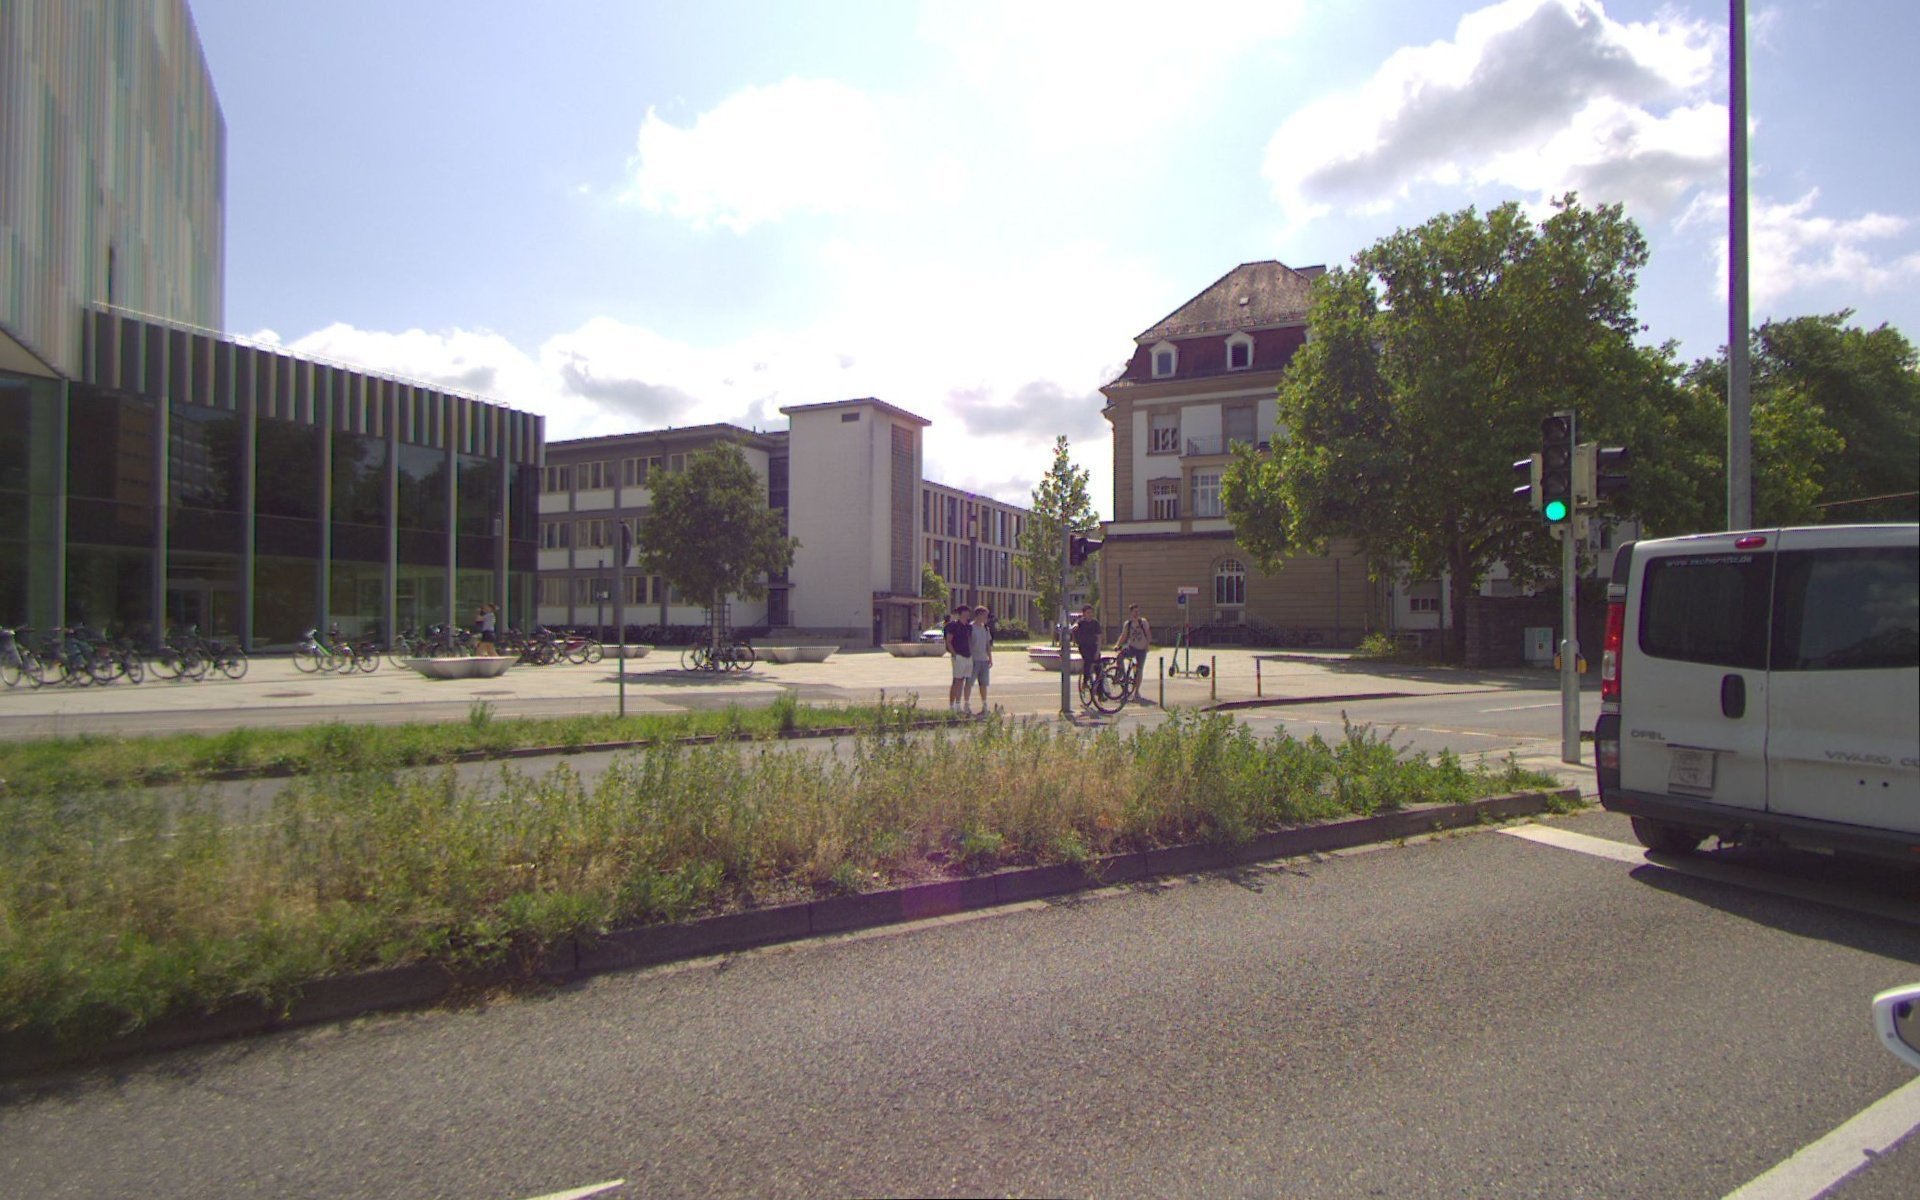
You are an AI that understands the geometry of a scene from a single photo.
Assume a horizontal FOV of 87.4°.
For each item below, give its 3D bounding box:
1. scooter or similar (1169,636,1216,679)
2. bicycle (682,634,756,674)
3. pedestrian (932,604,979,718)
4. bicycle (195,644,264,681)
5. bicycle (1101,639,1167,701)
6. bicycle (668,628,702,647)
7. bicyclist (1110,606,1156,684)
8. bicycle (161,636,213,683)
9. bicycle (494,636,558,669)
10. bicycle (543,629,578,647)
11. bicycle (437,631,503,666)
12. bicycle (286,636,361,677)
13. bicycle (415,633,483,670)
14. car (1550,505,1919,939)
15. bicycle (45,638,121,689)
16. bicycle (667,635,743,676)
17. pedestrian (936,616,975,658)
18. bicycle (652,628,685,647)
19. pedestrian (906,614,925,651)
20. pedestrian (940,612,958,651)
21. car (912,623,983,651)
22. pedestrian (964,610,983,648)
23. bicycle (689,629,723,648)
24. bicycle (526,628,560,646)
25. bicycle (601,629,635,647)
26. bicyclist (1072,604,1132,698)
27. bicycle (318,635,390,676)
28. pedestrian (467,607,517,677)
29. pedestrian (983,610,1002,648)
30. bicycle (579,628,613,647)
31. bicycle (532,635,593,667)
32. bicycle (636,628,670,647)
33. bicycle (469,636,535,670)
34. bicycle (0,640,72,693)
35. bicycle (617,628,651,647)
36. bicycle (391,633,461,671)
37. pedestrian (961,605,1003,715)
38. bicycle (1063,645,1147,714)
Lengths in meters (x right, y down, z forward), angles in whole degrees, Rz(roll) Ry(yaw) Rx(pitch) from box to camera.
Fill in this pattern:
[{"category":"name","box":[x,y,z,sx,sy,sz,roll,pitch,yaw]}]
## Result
[{"category":"scooter or similar","box":[6.084,1.487,26.274,1.131,1.081,0.402,-1,-1,33]},{"category":"bicycle","box":[-6.116,1.359,25.556,1.737,0.968,0.529,1,-1,7]},{"category":"pedestrian","box":[-0.073,1.013,16.948,0.629,1.866,0.473,1,-1,-45]},{"category":"bicycle","box":[-16.432,1.397,22.590,1.741,0.774,0.528,0,-1,28]},{"category":"bicycle","box":[3.577,1.402,20.538,0.684,1.139,1.666,-1,0,34]},{"category":"bicycle","box":[-14.213,1.939,51.944,0.520,0.968,1.770,2,-1,31]},{"category":"bicyclist","box":[3.526,0.904,20.454,0.646,1.559,0.783,-1,-1,35]},{"category":"bicycle","box":[-16.877,1.279,21.910,1.747,0.968,0.526,0,-1,40]},{"category":"bicycle","box":[-13.091,1.577,30.305,1.737,0.968,0.529,1,-1,7]},{"category":"bicycle","box":[-21.929,2.078,55.157,0.520,0.968,1.770,2,-1,31]},{"category":"bicycle","box":[-13.973,1.369,28.628,1.737,0.968,0.529,0,-1,14]},{"category":"bicycle","box":[-15.689,1.386,24.760,1.738,0.968,0.529,0,-1,16]},{"category":"bicycle","box":[-14.225,1.424,27.973,1.737,0.968,0.529,0,-1,14]},{"category":"car","box":[6.288,0.594,6.474,5.131,1.981,1.997,1,-1,-29]},{"category":"bicycle","box":[-17.762,1.266,20.340,1.739,0.968,0.373,0,-1,21]},{"category":"bicycle","box":[-6.334,1.368,24.983,1.737,0.968,0.529,1,-1,7]},{"category":"pedestrian","box":[-0.194,1.515,41.560,1.279,1.673,1.321,0,-1,-18]},{"category":"bicycle","box":[-15.166,1.966,52.318,0.520,0.968,1.770,2,-1,31]},{"category":"pedestrian","box":[-2.239,1.605,50.152,0.664,1.813,0.843,0,-1,21]},{"category":"pedestrian","box":[-0.538,1.512,48.246,0.799,1.813,0.843,0,-1,-5]},{"category":"car","box":[-0.629,1.982,54.467,1.963,1.323,4.488,1,0,28]},{"category":"pedestrian","box":[0.650,1.400,48.365,0.875,1.813,0.843,0,-1,-1]},{"category":"bicycle","box":[-13.016,1.964,51.444,0.520,0.968,1.768,2,-1,34]},{"category":"bicycle","box":[-23.115,2.071,55.661,0.520,0.968,1.770,2,-1,31]},{"category":"bicycle","box":[-18.360,2.033,53.998,0.520,0.968,1.770,2,-1,31]},{"category":"bicyclist","box":[2.569,0.906,18.236,0.649,1.637,0.992,1,-1,-27]},{"category":"bicycle","box":[-15.412,1.400,25.548,1.738,0.968,0.529,1,-1,16]},{"category":"pedestrian","box":[-11.532,1.013,24.742,1.003,1.672,1.173,1,-1,-30]},{"category":"pedestrian","box":[1.557,1.410,48.388,0.849,1.813,0.843,0,-1,0]},{"category":"bicycle","box":[-19.602,2.031,54.153,0.520,0.968,1.770,2,-1,31]},{"category":"bicycle","box":[-12.476,1.597,31.523,1.737,0.968,0.529,1,-1,7]},{"category":"bicycle","box":[-16.202,1.998,53.037,0.520,0.968,1.770,2,-1,31]},{"category":"bicycle","box":[-13.490,1.553,29.620,1.737,0.968,0.529,1,-1,7]},{"category":"bicycle","box":[-17.798,1.264,19.337,1.516,0.968,0.373,0,-1,21]},{"category":"bicycle","box":[-17.367,2.015,53.569,0.520,0.968,1.770,2,-1,31]},{"category":"bicycle","box":[-14.472,1.395,27.228,1.737,0.968,0.529,0,-1,14]},{"category":"pedestrian","box":[0.379,1.025,17.423,0.570,1.866,0.411,1,0,-36]},{"category":"bicycle","box":[2.601,1.402,18.182,0.686,1.139,1.660,1,-1,-27]}]
